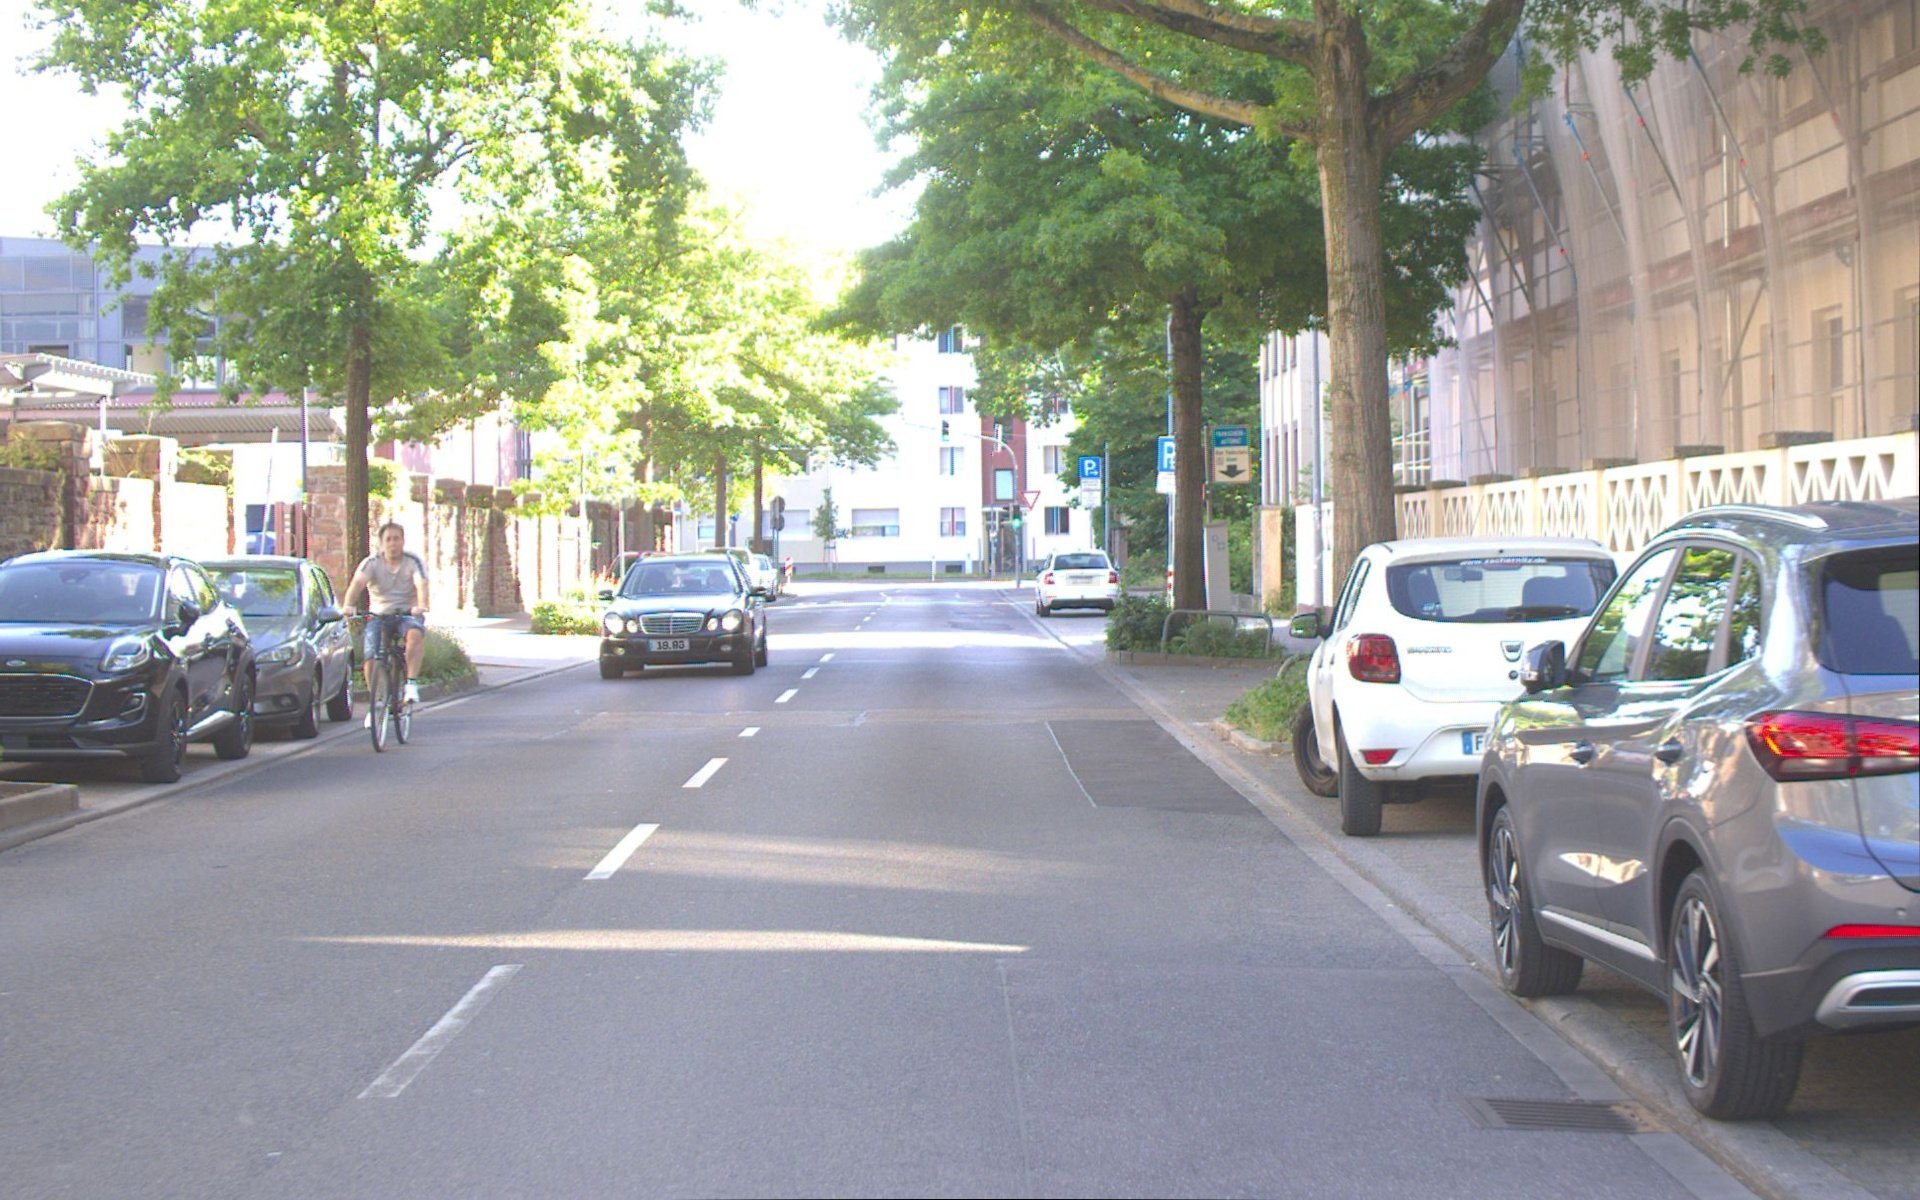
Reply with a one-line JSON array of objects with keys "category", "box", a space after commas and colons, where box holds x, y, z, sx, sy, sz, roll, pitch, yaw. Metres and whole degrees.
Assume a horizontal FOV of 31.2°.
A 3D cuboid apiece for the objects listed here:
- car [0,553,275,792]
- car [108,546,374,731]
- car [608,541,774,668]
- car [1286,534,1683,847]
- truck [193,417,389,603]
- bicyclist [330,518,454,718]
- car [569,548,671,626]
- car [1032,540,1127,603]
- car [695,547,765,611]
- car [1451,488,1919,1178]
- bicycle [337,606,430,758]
[{"category": "car", "box": [-5.925, 0.436, 23.923, 1.573, 1.510, 4.045, 0, 1, -1]}, {"category": "car", "box": [-5.998, 0.280, 29.041, 1.686, 1.417, 3.839, 2, 1, -4]}, {"category": "car", "box": [-3.203, 0.019, 41.604, 1.821, 1.431, 3.970, -1, 1, -2]}, {"category": "car", "box": [2.776, 0.411, 18.965, 1.724, 1.505, 3.991, -1, 1, 3]}, {"category": "truck", "box": [-14.220, -1.874, 73.642, 2.732, 3.698, 7.428, 2, 1, -1]}, {"category": "bicyclist", "box": [-4.427, 0.133, 26.834, 0.721, 1.517, 1.005, 2, 1, 3]}, {"category": "car", "box": [-6.713, -0.265, 68.196, 1.609, 1.454, 3.708, 2, 1, 0]}, {"category": "car", "box": [2.583, -0.629, 75.380, 1.832, 1.318, 4.496, -1, 1, -1]}, {"category": "car", "box": [-6.141, -0.587, 92.266, 1.720, 1.678, 4.351, 0, 1, -2]}, {"category": "car", "box": [2.714, 0.518, 10.306, 1.712, 1.632, 4.303, 0, 1, -2]}, {"category": "bicycle", "box": [-4.506, 0.624, 26.954, 0.357, 1.117, 1.866, 2, 1, 1]}]
